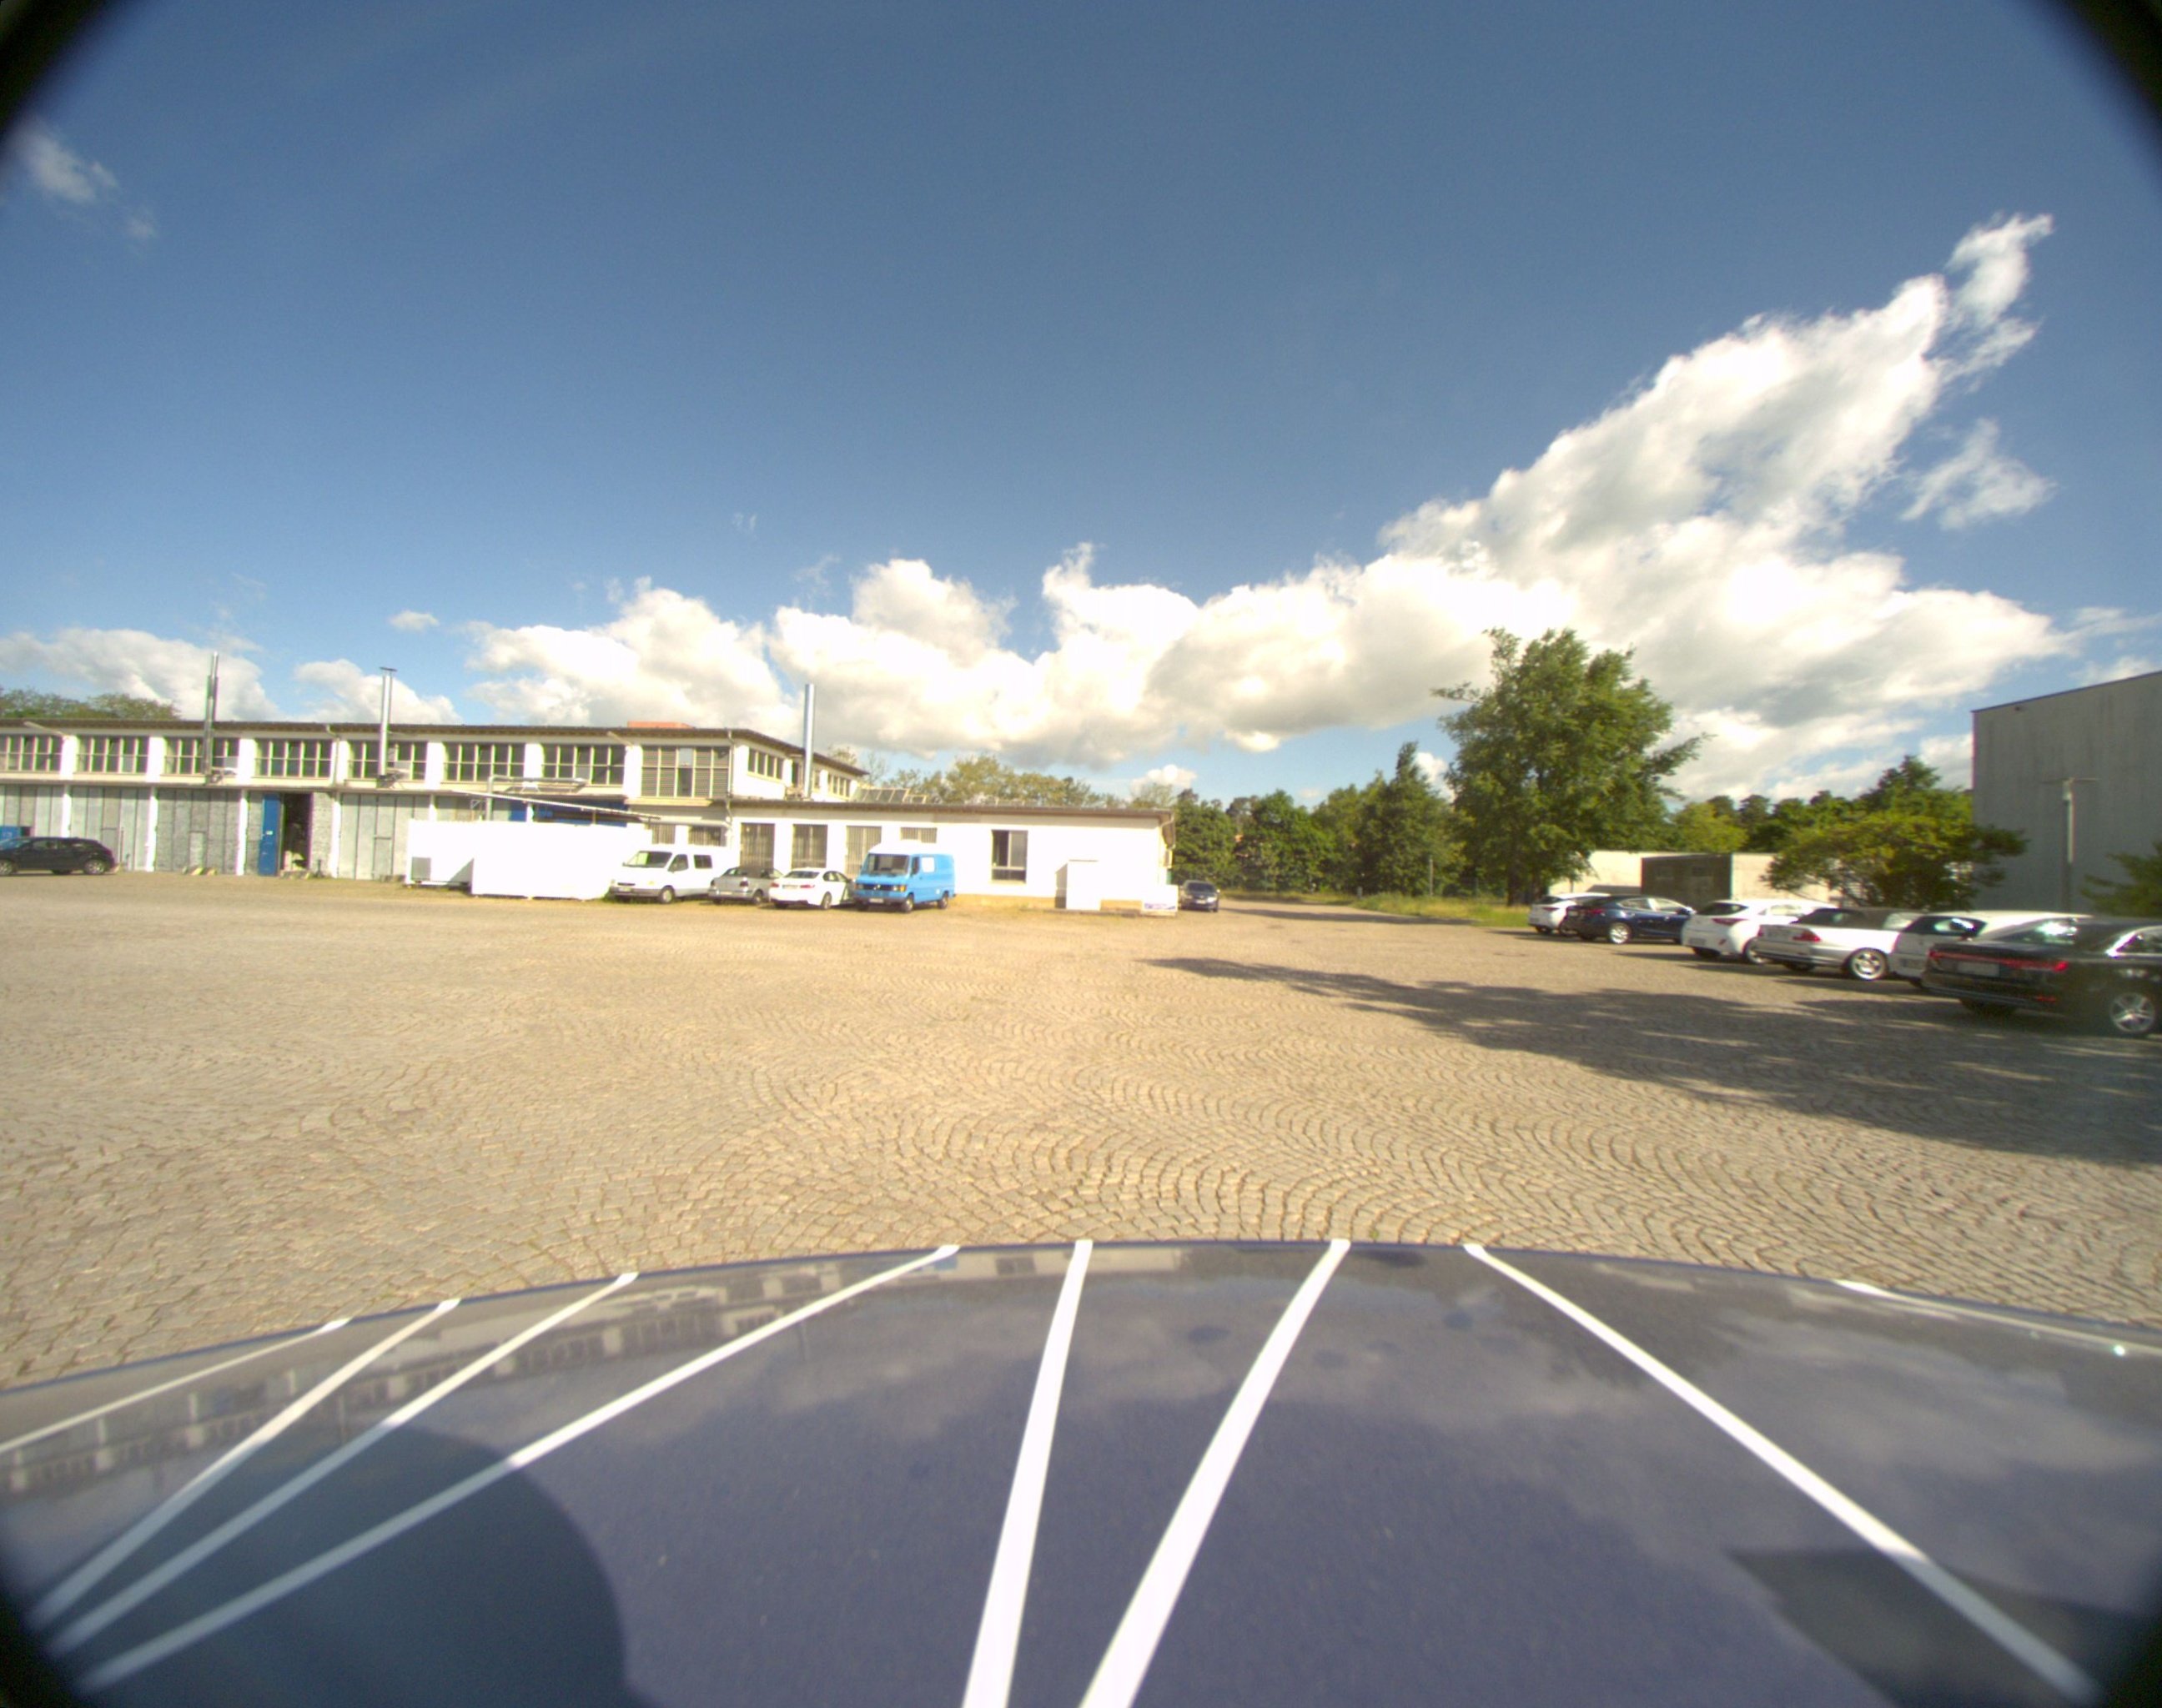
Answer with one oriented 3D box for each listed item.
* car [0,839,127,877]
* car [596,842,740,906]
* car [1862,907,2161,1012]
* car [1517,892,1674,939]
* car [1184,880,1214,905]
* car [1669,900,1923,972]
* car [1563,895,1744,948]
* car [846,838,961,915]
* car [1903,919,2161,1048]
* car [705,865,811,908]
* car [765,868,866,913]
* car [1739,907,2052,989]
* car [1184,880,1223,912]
[{"bbox_3d":[-42.184,0.156,30.761,1.738,1.461,4.079,2,-1,6],"label":"car"},{"bbox_3d":[-14.893,0.715,27.783,2.006,2.069,4.810,2,-1,11],"label":"car"},{"bbox_3d":[15.764,1.652,12.271,4.144,1.451,1.693,0,-2,13],"label":"car"},{"bbox_3d":[16.884,1.998,25.109,3.919,1.426,1.797,0,-2,8],"label":"car"},{"bbox_3d":[7.374,2.359,47.540,1.690,1.426,3.991,2,-1,8],"label":"car"},{"bbox_3d":[16.092,1.813,17.308,3.919,1.437,1.757,0,-2,8],"label":"car"},{"bbox_3d":[16.775,1.949,22.442,3.919,1.408,1.694,0,-2,8],"label":"car"},{"bbox_3d":[-6.266,0.780,27.621,2.086,2.468,5.244,2,-1,11],"label":"car"},{"bbox_3d":[14.025,1.618,9.743,4.728,1.414,1.758,0,-2,6],"label":"car"},{"bbox_3d":[-11.795,1.176,28.042,1.689,1.390,3.836,2,-1,10],"label":"car"},{"bbox_3d":[-9.231,1.240,26.740,1.735,1.397,3.742,1,0,10],"label":"car"},{"bbox_3d":[15.600,1.765,14.776,3.919,1.363,1.730,0,-2,8],"label":"car"},{"bbox_3d":[6.062,2.038,37.876,1.766,1.426,3.996,2,-1,8],"label":"car"}]
